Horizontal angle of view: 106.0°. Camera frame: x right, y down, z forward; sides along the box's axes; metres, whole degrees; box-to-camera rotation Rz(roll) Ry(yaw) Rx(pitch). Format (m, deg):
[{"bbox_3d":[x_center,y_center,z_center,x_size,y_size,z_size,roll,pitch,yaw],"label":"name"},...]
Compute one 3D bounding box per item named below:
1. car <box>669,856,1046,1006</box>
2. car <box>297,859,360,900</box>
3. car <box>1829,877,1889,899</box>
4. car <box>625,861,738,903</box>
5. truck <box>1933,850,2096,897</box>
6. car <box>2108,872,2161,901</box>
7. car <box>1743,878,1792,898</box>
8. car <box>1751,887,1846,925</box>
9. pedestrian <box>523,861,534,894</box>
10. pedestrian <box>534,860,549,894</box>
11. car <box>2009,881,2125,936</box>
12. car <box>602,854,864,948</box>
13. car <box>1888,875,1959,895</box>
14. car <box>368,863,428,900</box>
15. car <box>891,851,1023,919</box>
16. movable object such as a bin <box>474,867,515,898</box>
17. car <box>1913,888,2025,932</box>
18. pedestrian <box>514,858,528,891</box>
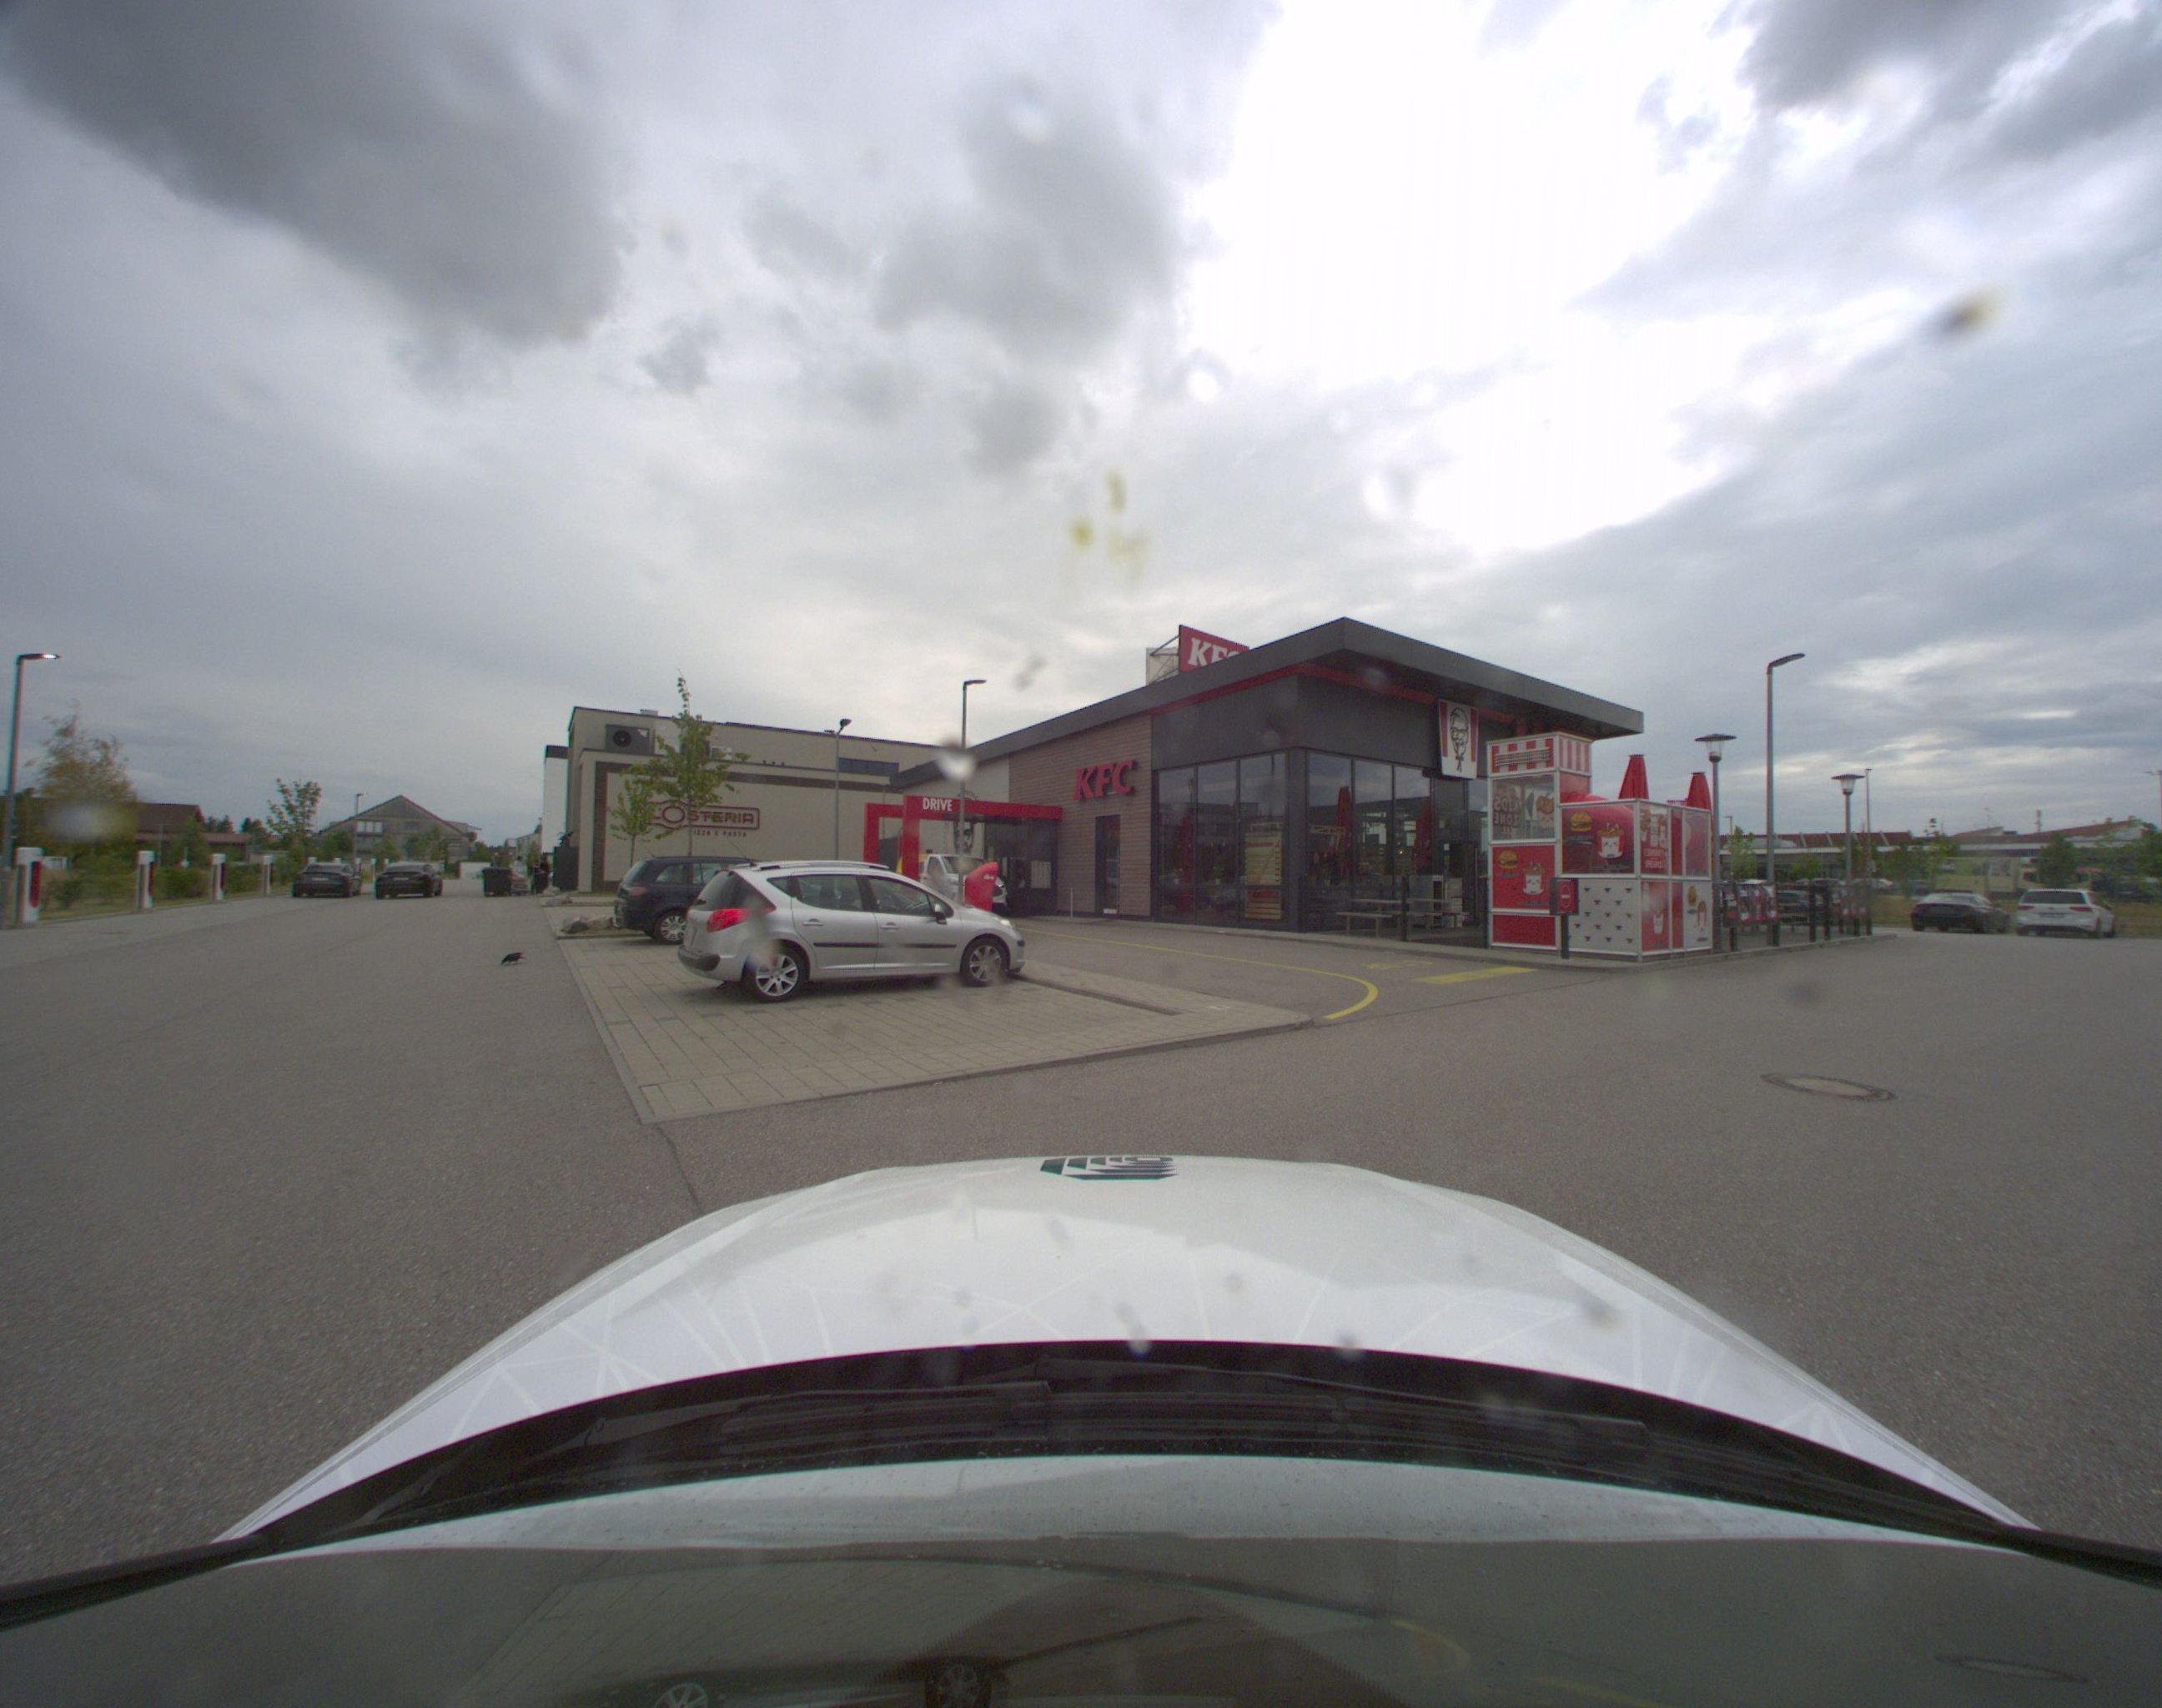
[{"bbox_3d":[-2.624,0.822,10.050,4.186,1.505,1.611,1,-2,-36],"label":"car"},{"bbox_3d":[-35.305,1.189,38.280,1.844,1.772,3.953,5,-4,-39],"label":"car"},{"bbox_3d":[65.907,2.858,68.992,4.321,1.772,1.918,0,-1,-20],"label":"car"},{"bbox_3d":[-16.116,1.110,32.913,3.860,1.574,1.806,0,-1,-35],"label":"car"},{"bbox_3d":[69.498,1.433,60.993,3.004,3.196,8.445,-1,-1,6],"label":"truck"},{"bbox_3d":[72.097,2.218,55.245,5.080,1.885,2.059,2,-2,-27],"label":"car"},{"bbox_3d":[63.795,3.150,75.715,4.331,1.772,1.982,0,-1,-28],"label":"car"},{"bbox_3d":[30.438,2.207,34.523,4.083,1.412,1.870,4,-3,-31],"label":"car"},{"bbox_3d":[-27.773,1.159,40.963,0.433,1.645,0.385,0,-2,-39],"label":"pedestrian"},{"bbox_3d":[-27.357,1.166,41.308,0.577,1.684,0.385,0,-2,-41],"label":"pedestrian"},{"bbox_3d":[34.110,1.886,28.160,4.386,1.713,1.972,4,-3,-32],"label":"car"},{"bbox_3d":[-6.738,0.871,16.043,4.505,1.617,1.568,1,-2,-36],"label":"car"},{"bbox_3d":[79.038,2.845,76.424,2.007,1.772,4.277,0,-1,-32],"label":"car"},{"bbox_3d":[-31.181,1.233,37.223,2.010,1.596,3.953,0,-1,-40],"label":"car"},{"bbox_3d":[-4.072,0.966,25.939,2.289,1.932,5.069,2,-2,-33],"label":"car"},{"bbox_3d":[-26.821,1.284,37.242,1.373,1.350,1.850,0,-2,-41],"label":"movable object such as a bin"},{"bbox_3d":[32.893,2.072,30.135,4.529,1.467,1.928,4,-3,-31],"label":"car"},{"bbox_3d":[-27.610,1.002,40.146,0.431,1.645,0.387,0,-1,-16],"label":"pedestrian"}]
